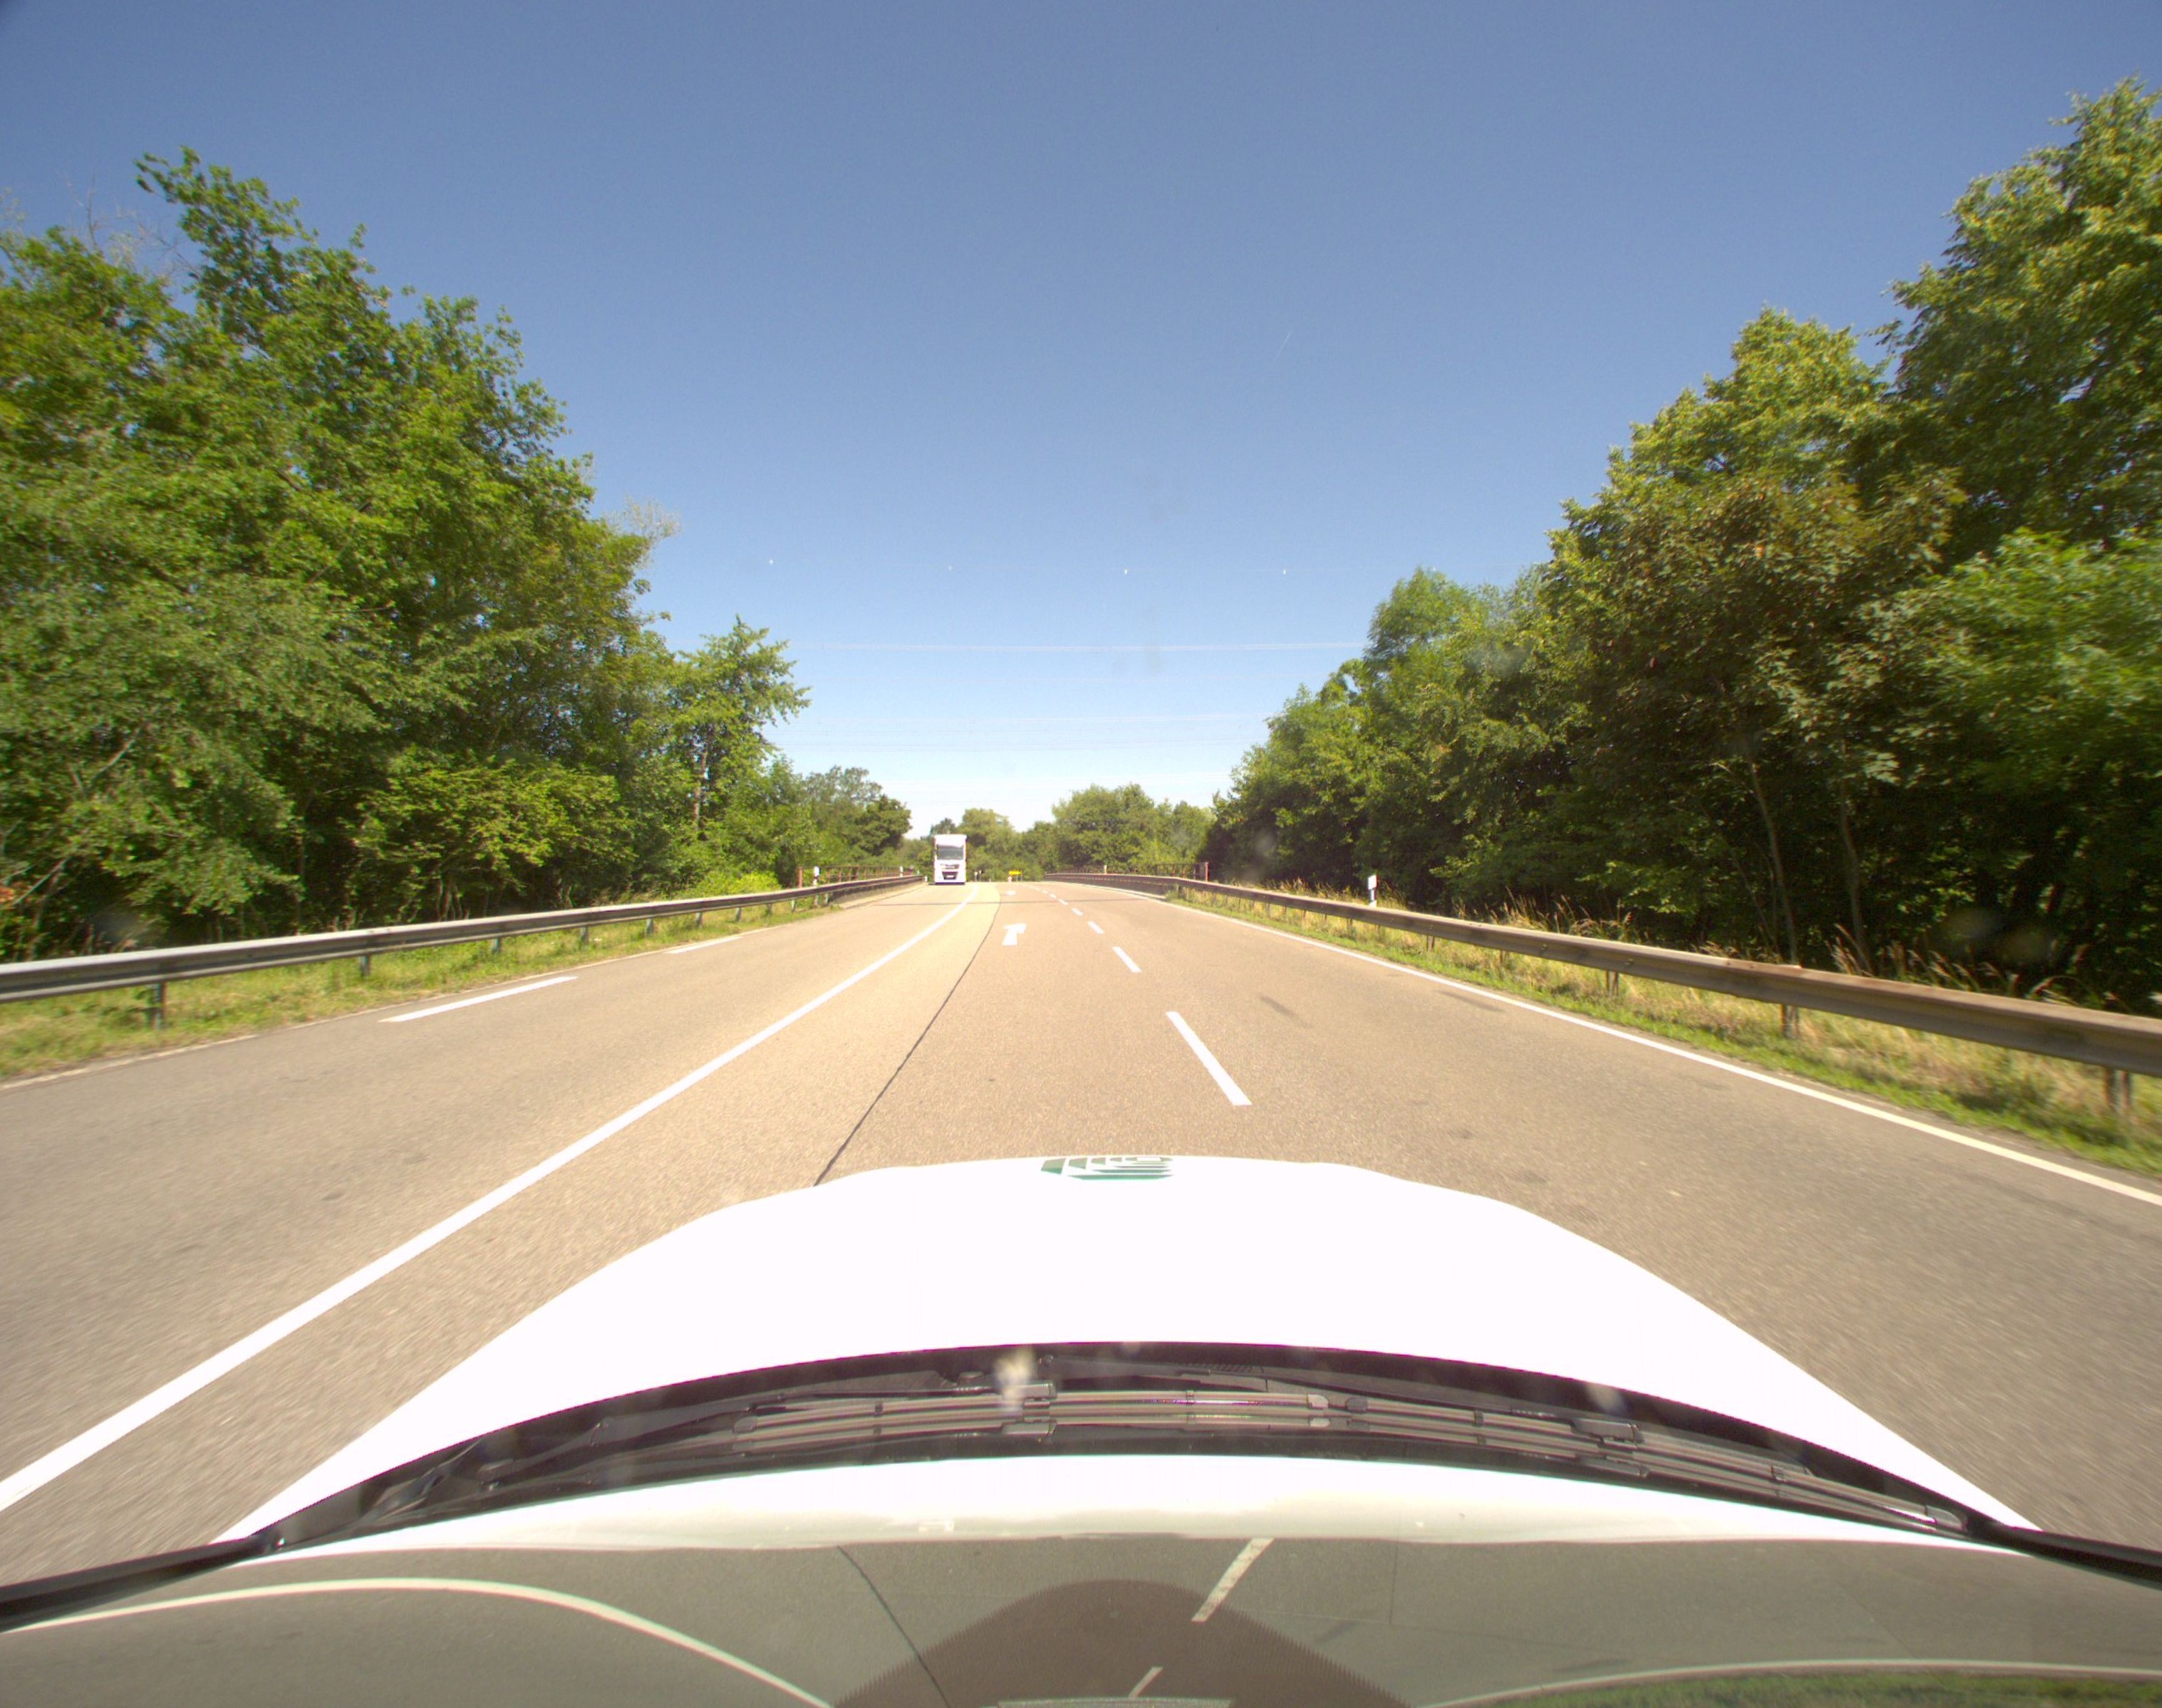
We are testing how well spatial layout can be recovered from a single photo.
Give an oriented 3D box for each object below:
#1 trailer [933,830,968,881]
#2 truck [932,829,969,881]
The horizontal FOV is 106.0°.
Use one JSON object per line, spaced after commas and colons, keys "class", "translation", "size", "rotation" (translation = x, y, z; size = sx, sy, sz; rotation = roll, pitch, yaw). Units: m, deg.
{"class": "trailer", "translation": [-11.904, 0.290, 73.376], "size": [2.769, 4.062, 14.146], "rotation": [-1, -1, -11]}
{"class": "truck", "translation": [-10.712, 0.114, 66.821], "size": [2.769, 4.034, 5.835], "rotation": [-1, -2, -10]}
